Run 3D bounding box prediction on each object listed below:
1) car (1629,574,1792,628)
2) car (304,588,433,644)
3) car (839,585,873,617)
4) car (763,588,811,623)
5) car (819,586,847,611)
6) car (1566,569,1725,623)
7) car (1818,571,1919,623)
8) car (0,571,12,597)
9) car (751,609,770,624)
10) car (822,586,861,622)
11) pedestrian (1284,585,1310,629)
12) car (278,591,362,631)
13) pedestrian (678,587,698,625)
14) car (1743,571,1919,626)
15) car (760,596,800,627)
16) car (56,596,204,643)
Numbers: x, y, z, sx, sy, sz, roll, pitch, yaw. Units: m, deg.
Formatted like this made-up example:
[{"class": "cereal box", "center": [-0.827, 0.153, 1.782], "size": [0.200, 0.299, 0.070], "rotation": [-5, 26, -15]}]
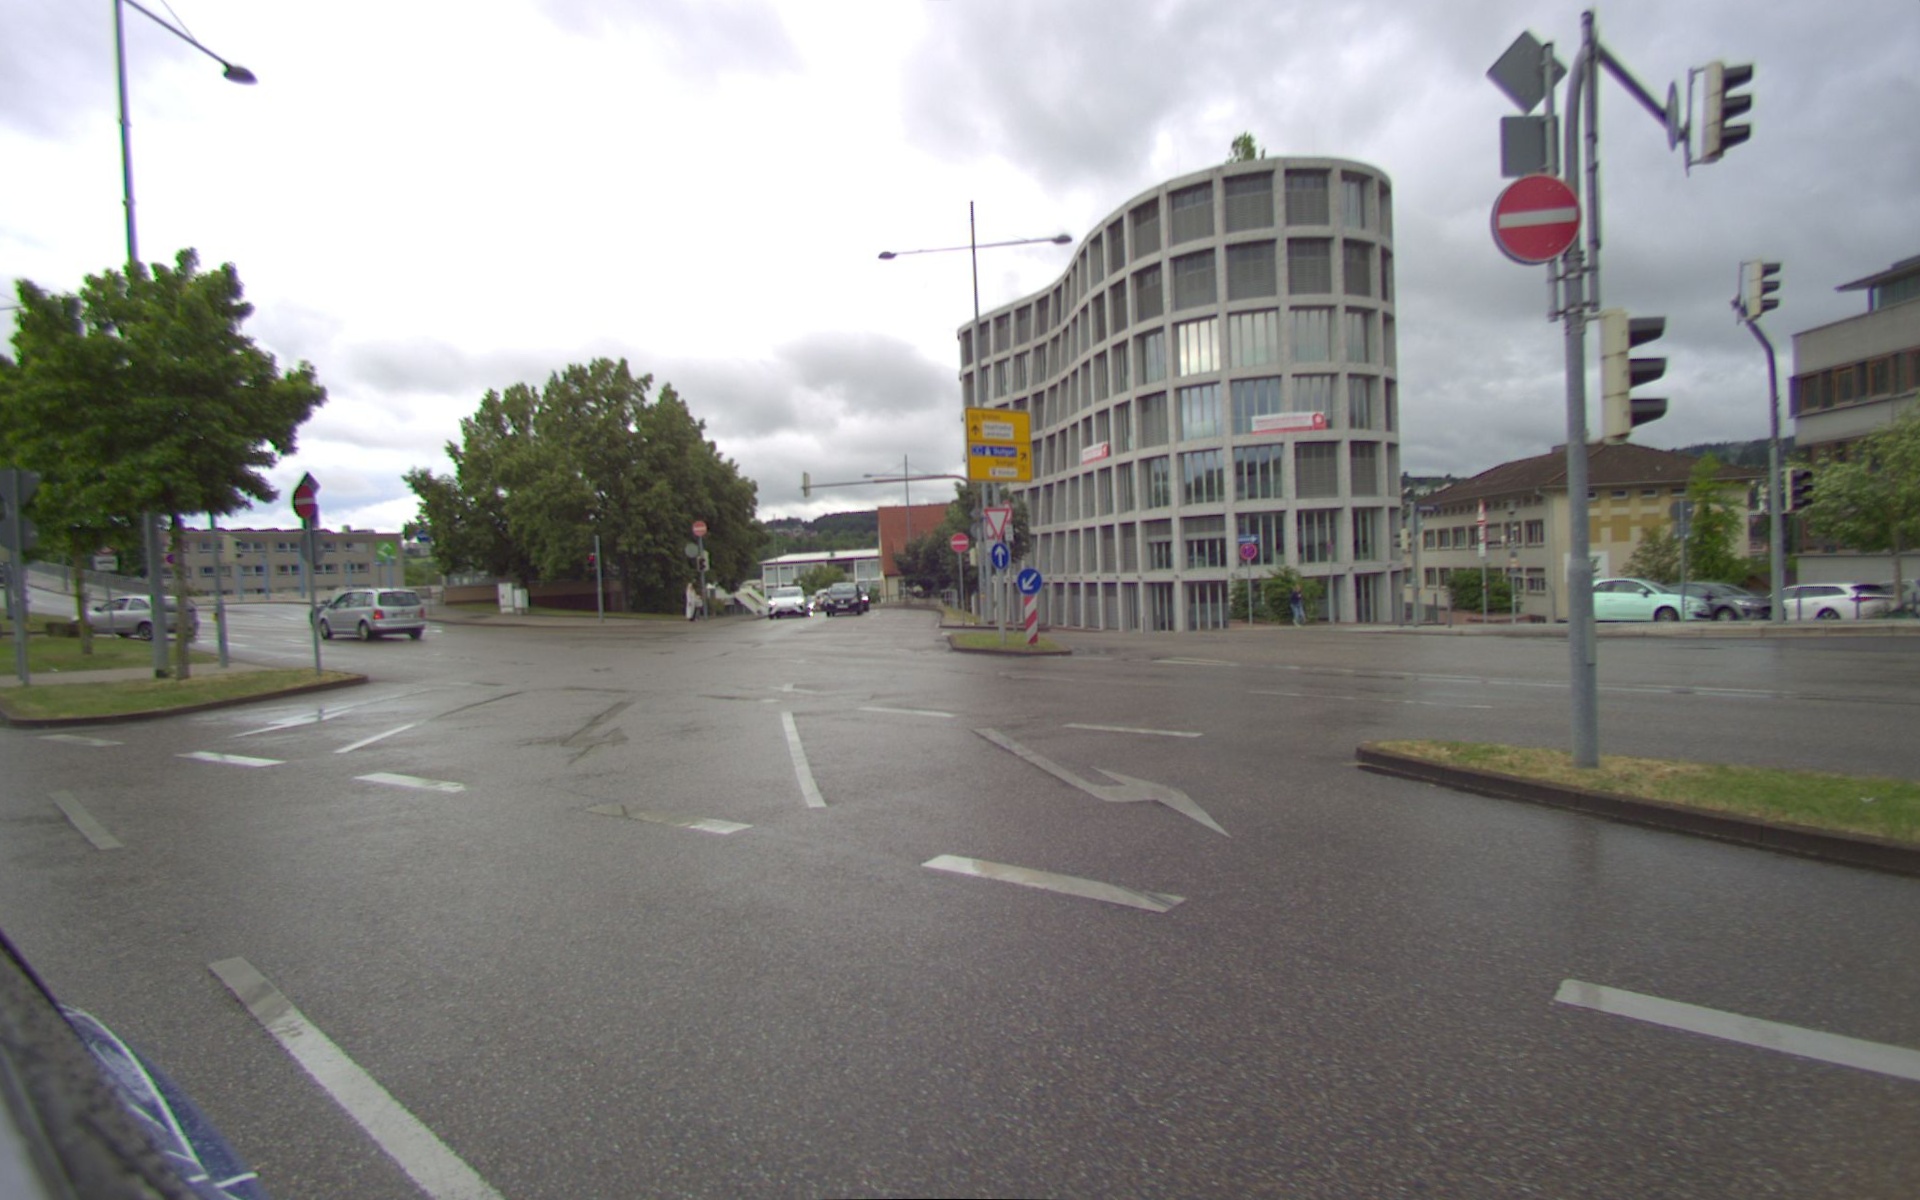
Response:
[{"class": "car", "center": [22.550, 0.019, 30.530], "size": [1.605, 1.507, 3.592], "rotation": [-2, 1, -32]}, {"class": "car", "center": [-19.177, 0.511, 32.774], "size": [4.407, 1.665, 1.832], "rotation": [-1, 1, 34]}, {"class": "car", "center": [-5.582, 0.038, 54.371], "size": [1.702, 1.579, 3.843], "rotation": [-2, 1, -5]}, {"class": "car", "center": [-8.430, 0.251, 49.658], "size": [1.860, 1.579, 4.145], "rotation": [-2, 1, -3]}, {"class": "car", "center": [-8.595, -0.102, 68.817], "size": [1.702, 1.579, 3.843], "rotation": [-2, 1, -5]}, {"class": "car", "center": [20.534, -0.115, 30.424], "size": [1.605, 1.507, 3.592], "rotation": [-2, 1, -32]}, {"class": "car", "center": [28.615, -0.106, 30.797], "size": [1.607, 1.507, 3.589], "rotation": [-2, 1, -9]}, {"class": "car", "center": [-67.180, -1.111, 69.877], "size": [4.853, 1.674, 1.890], "rotation": [3, 4, 39]}, {"class": "car", "center": [-20.086, 1.632, 101.685], "size": [1.546, 1.405, 3.191], "rotation": [-2, 1, -16]}, {"class": "car", "center": [-5.585, 0.135, 48.095], "size": [1.702, 1.579, 3.843], "rotation": [-2, 1, -5]}, {"class": "pedestrian", "center": [12.562, 0.243, 37.693], "size": [0.704, 1.595, 0.664], "rotation": [0, 2, 40]}, {"class": "car", "center": [-27.163, 0.460, 42.886], "size": [4.920, 1.515, 1.827], "rotation": [-1, 2, 44]}, {"class": "pedestrian", "center": [-11.720, 0.248, 43.588], "size": [0.642, 1.582, 0.633], "rotation": [0, 1, -32]}, {"class": "car", "center": [26.018, -0.057, 30.351], "size": [1.737, 1.507, 3.796], "rotation": [-2, 1, -9]}, {"class": "car", "center": [-9.792, 0.592, 55.328], "size": [1.702, 1.519, 4.059], "rotation": [-2, 1, -4]}, {"class": "car", "center": [-27.250, 0.637, 33.271], "size": [3.832, 1.459, 1.633], "rotation": [0, 1, 9]}]
